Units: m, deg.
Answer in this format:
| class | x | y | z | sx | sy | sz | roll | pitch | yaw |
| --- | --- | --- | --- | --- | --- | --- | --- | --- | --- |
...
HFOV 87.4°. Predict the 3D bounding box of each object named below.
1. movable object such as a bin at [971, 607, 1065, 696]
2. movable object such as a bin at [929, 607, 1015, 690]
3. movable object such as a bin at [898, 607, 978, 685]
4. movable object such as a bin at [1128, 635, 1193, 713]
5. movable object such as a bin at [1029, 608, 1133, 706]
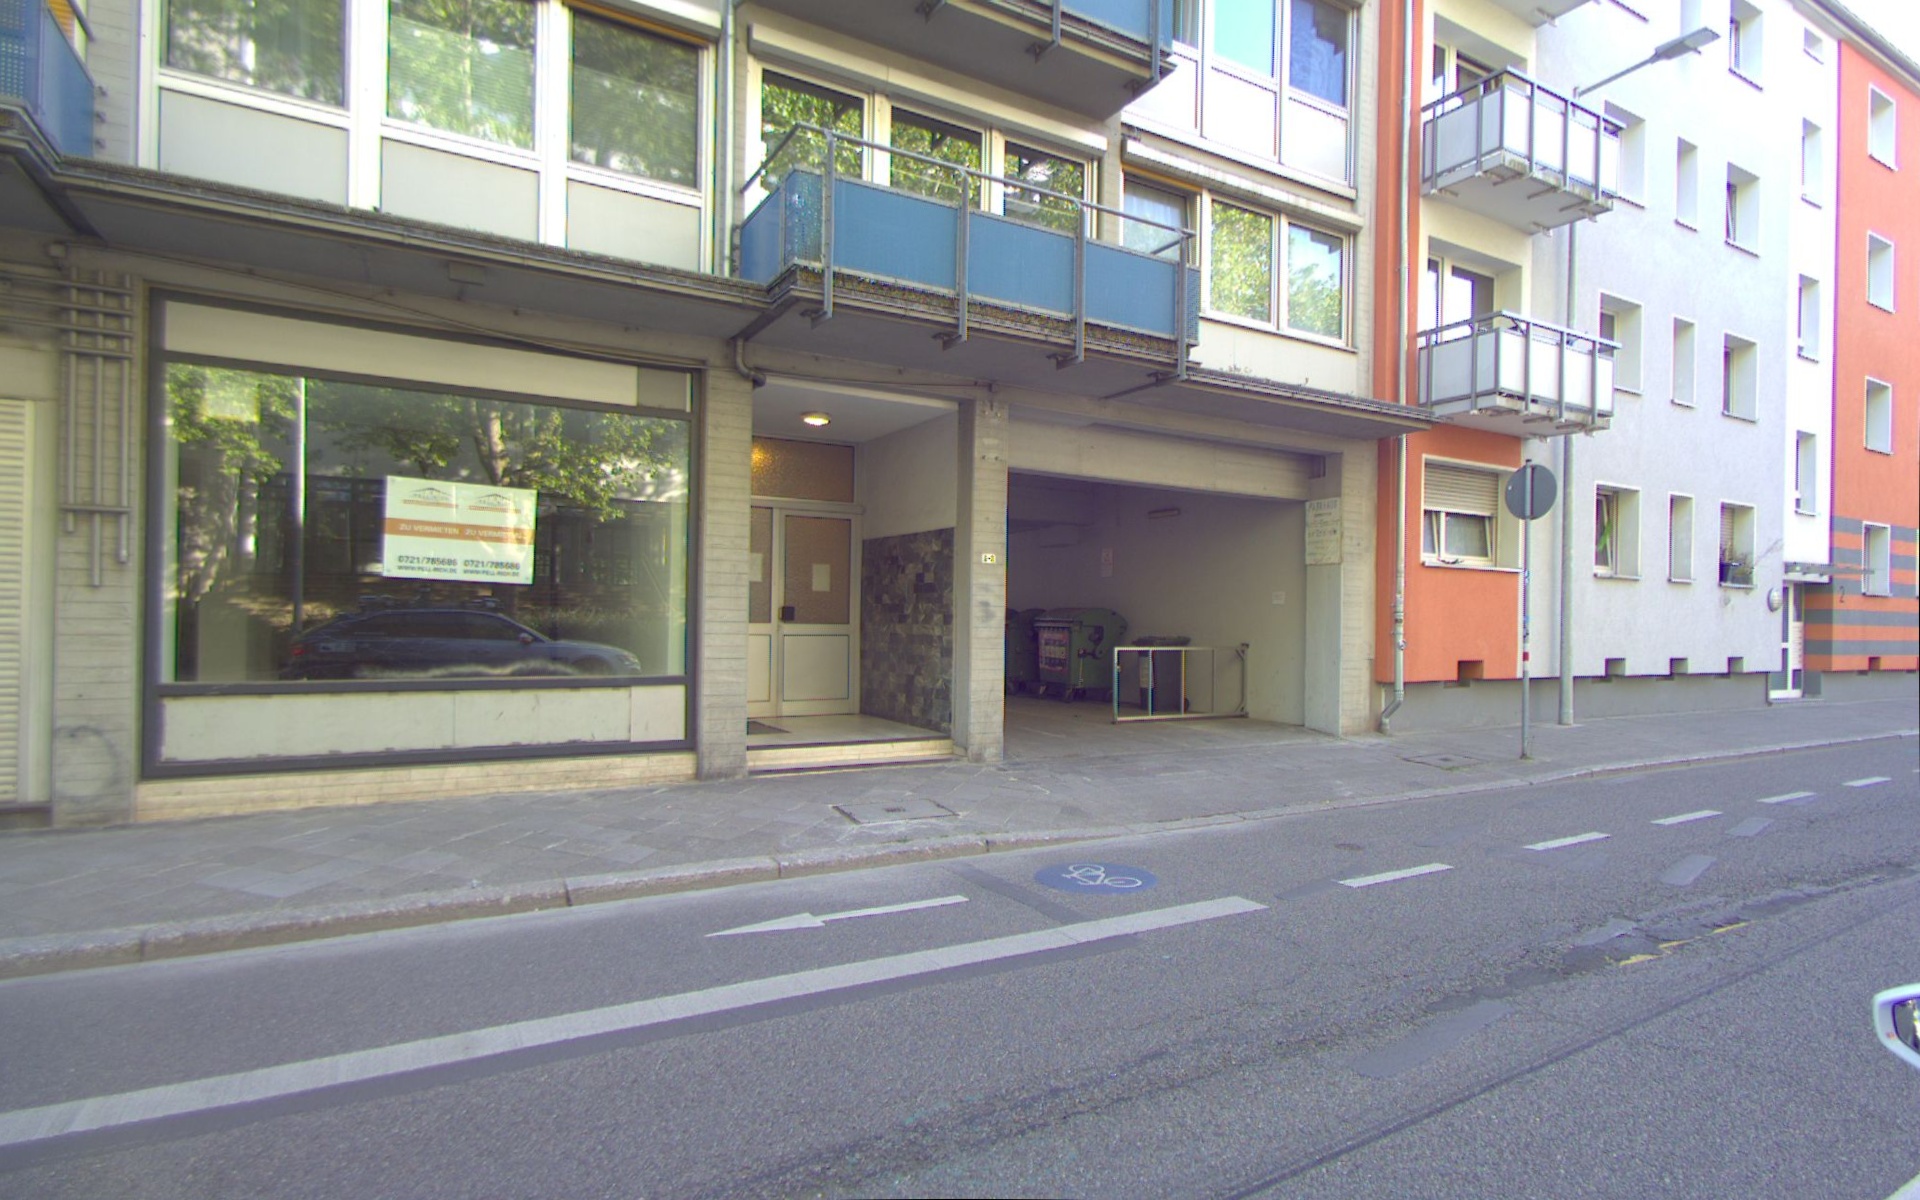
| class | x | y | z | sx | sy | sz | roll | pitch | yaw |
| --- | --- | --- | --- | --- | --- | --- | --- | --- | --- |
| movable object such as a bin | 0.981 | 0.860 | 17.173 | 1.116 | 1.444 | 1.201 | 1 | 0 | -30 |
| movable object such as a bin | 0.210 | 0.866 | 18.472 | 1.116 | 1.444 | 1.201 | 1 | 0 | -30 |
| movable object such as a bin | -0.437 | 0.872 | 19.620 | 1.116 | 1.444 | 1.201 | 1 | 0 | -30 |
| movable object such as a bin | 2.890 | 1.048 | 14.504 | 0.667 | 1.079 | 0.639 | 1 | 0 | -30 |
| movable object such as a bin | 1.892 | 0.866 | 15.814 | 1.116 | 1.444 | 1.201 | 1 | 0 | -30 |
